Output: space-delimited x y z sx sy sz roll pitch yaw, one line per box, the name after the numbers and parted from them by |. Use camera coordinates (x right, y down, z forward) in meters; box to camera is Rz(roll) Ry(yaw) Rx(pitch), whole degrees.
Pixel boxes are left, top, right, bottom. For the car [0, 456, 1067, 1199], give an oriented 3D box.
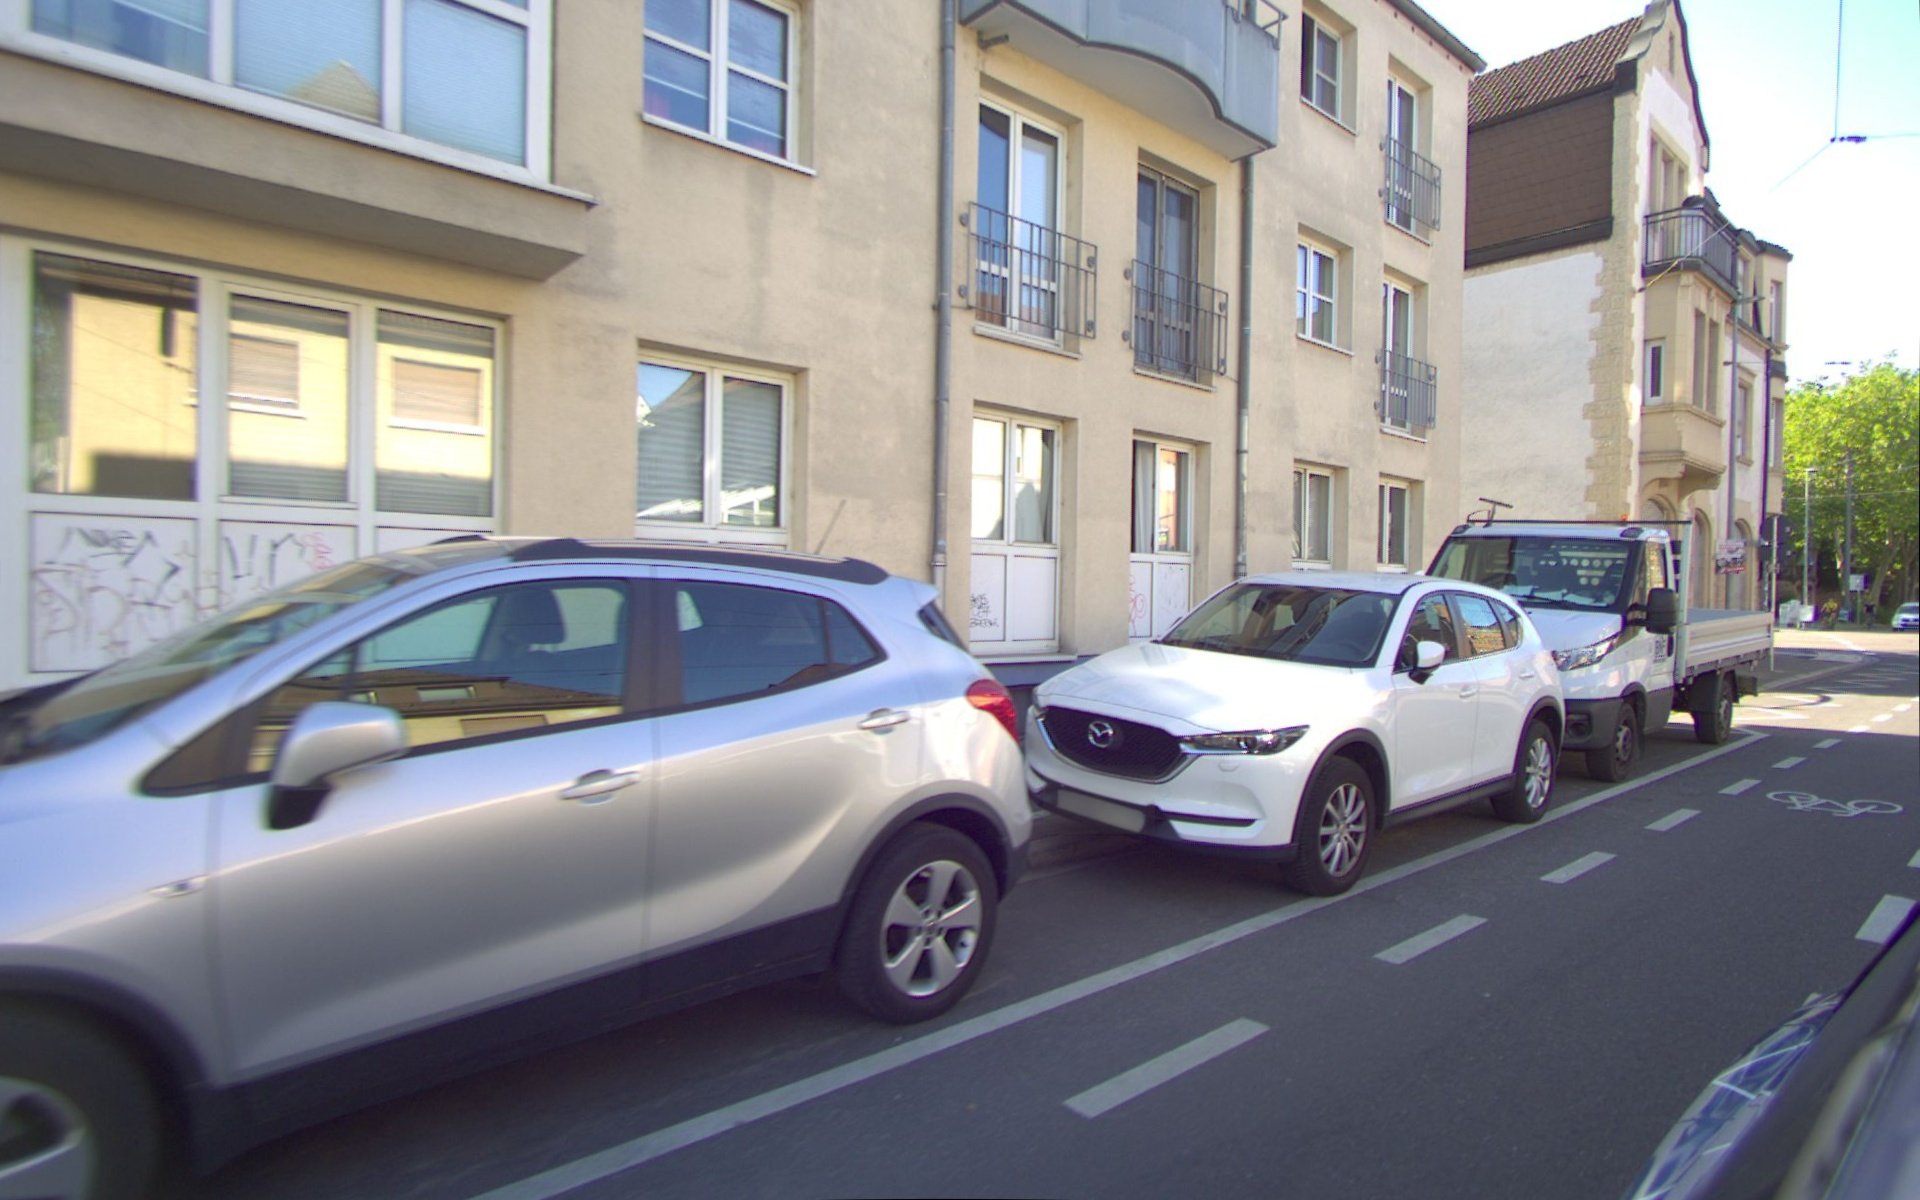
-1.601 0.588 3.174 3.919 1.721 1.605 0 -1 -41 | car

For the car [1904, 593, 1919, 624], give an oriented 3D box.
52.868 0.493 54.981 4.491 1.639 1.909 1 0 -41 | car

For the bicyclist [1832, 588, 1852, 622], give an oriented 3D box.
46.822 0.269 53.717 0.611 1.751 0.669 4 -1 -41 | bicyclist

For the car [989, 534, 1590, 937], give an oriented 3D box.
2.311 0.594 6.485 4.180 1.769 1.742 0 -1 -41 | car

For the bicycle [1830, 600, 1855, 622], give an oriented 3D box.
46.998 0.585 53.884 2.062 1.047 0.690 3 -1 -41 | bicycle

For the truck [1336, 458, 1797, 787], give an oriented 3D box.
6.573 0.144 10.562 6.038 2.508 2.300 0 1 -40 | truck
